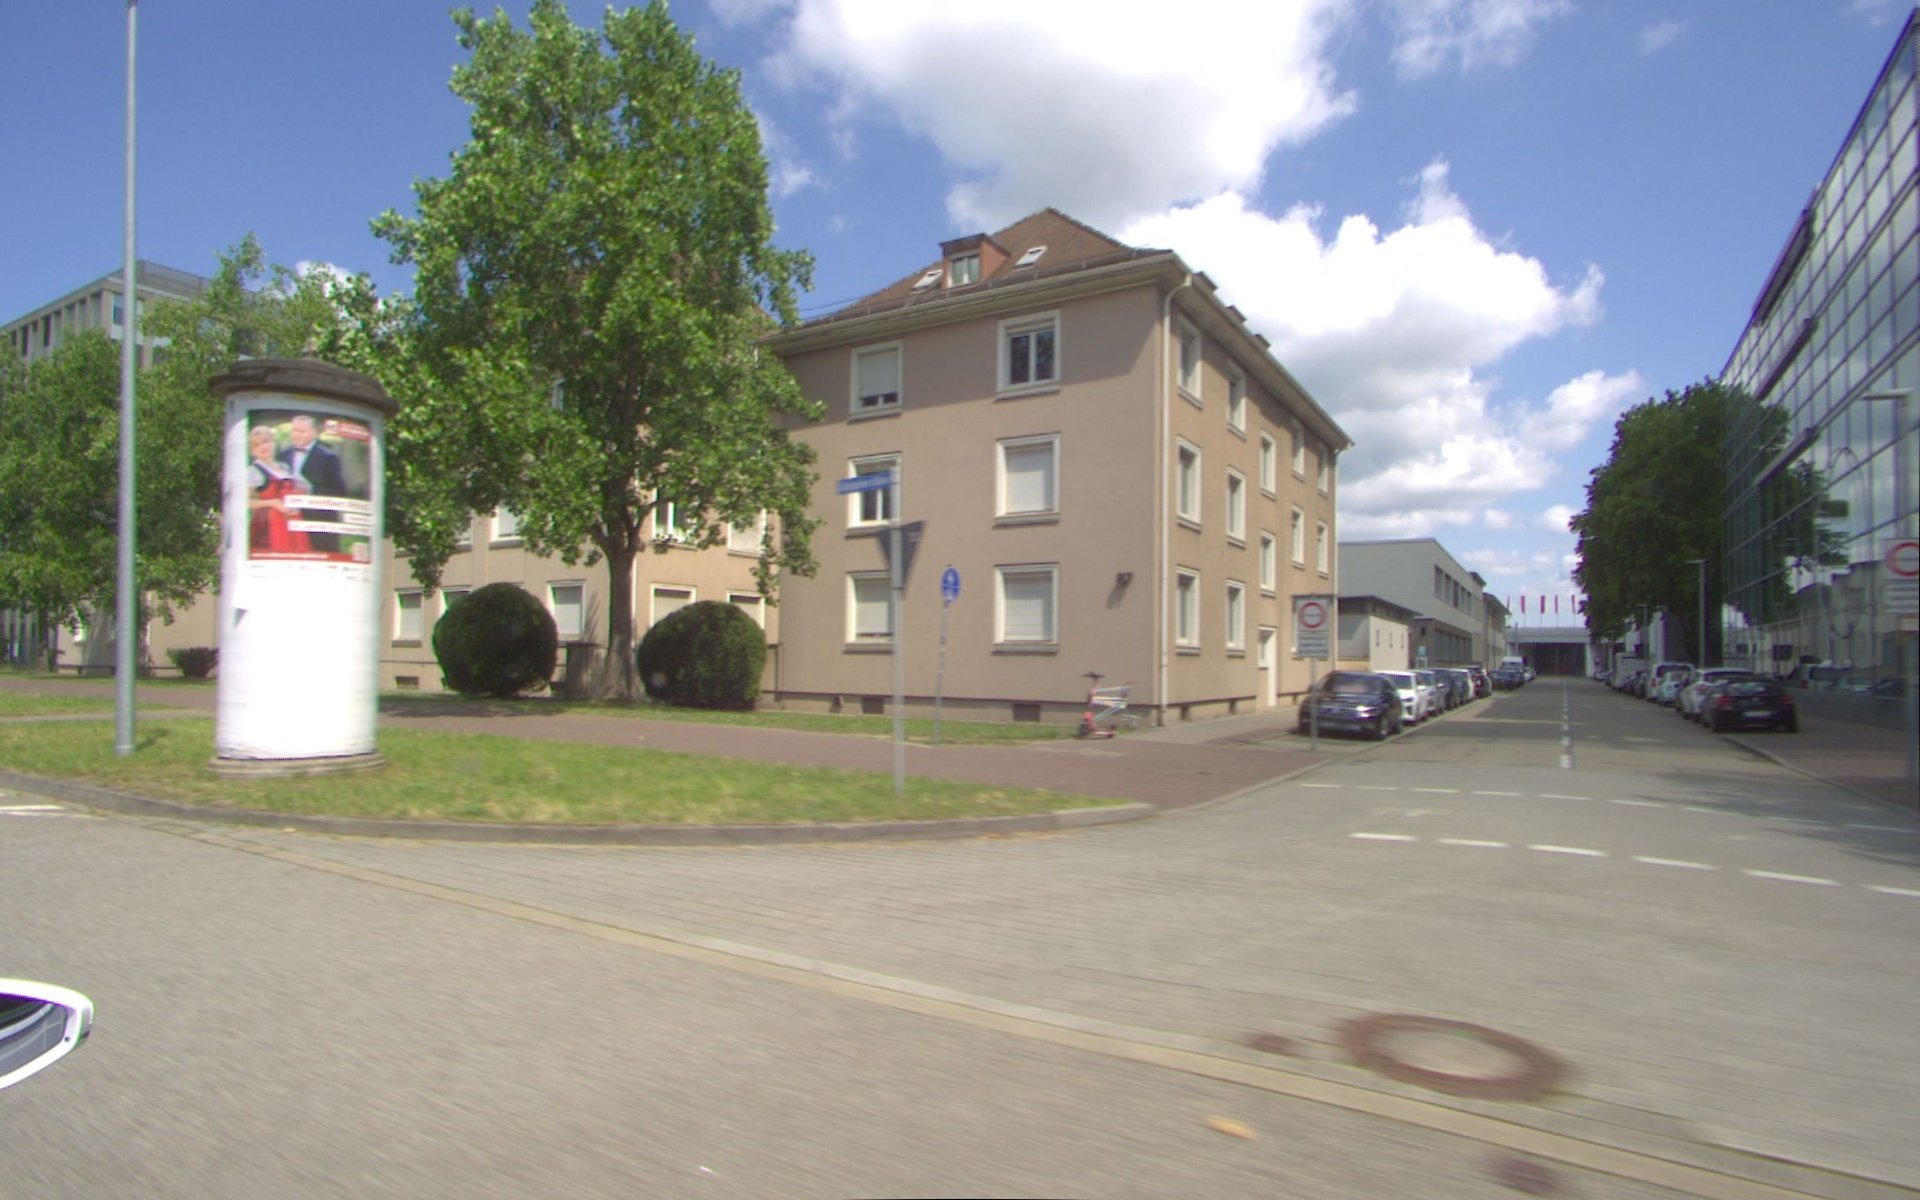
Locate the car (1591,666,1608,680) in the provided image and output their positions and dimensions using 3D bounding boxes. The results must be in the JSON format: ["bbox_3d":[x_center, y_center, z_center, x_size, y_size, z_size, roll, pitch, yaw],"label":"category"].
[{"bbox_3d":[83.306,9.487,130.434,1.794,1.793,3.981,-4,-5,33],"label":"car"}]

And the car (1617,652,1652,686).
[{"bbox_3d":[48.967,5.030,72.773,1.967,2.334,4.580,-3,-5,33],"label":"car"}]

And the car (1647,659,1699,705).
[{"bbox_3d":[34.155,3.896,48.033,1.793,2.107,3.981,-2,-4,33],"label":"car"}]

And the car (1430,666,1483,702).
[{"bbox_3d":[23.058,3.867,46.430,1.835,1.464,4.053,2,-2,31],"label":"car"}]

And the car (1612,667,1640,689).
[{"bbox_3d":[54.378,6.370,81.837,1.794,1.793,3.981,-4,-5,33],"label":"car"}]

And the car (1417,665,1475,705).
[{"bbox_3d":[20.668,3.576,42.505,1.835,1.464,4.053,2,-2,31],"label":"car"}]

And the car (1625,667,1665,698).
[{"bbox_3d":[40.873,4.923,59.838,1.794,1.793,3.981,-4,-5,33],"label":"car"}]

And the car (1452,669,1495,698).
[{"bbox_3d":[28.646,4.618,55.827,1.835,1.464,4.053,2,-2,31],"label":"car"}]

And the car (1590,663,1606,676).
[{"bbox_3d":[91.564,9.948,143.600,1.794,1.793,3.981,-4,-5,33],"label":"car"}]

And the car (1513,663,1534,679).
[{"bbox_3d":[64.812,8.141,115.203,1.794,1.793,3.981,-4,-5,33],"label":"car"}]

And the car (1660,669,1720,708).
[{"bbox_3d":[31.268,3.758,42.970,1.794,1.566,3.981,-3,-5,33],"label":"car"}]

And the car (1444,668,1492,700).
[{"bbox_3d":[26.041,4.271,51.250,1.835,1.464,4.053,2,-2,31],"label":"car"}]

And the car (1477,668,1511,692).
[{"bbox_3d":[37.467,5.582,70.226,1.835,1.464,4.053,2,-2,31],"label":"car"}]

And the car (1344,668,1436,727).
[{"bbox_3d":[12.500,2.755,28.943,1.835,1.464,4.296,2,-2,31],"label":"car"}]

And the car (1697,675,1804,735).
[{"bbox_3d":[21.115,2.782,26.893,1.794,1.434,3.981,-5,-6,33],"label":"car"}]

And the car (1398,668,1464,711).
[{"bbox_3d":[18.073,3.382,38.348,1.835,1.464,4.053,2,-2,31],"label":"car"}]

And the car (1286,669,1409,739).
[{"bbox_3d":[8.953,2.294,22.920,1.970,1.370,4.449,-1,-4,30],"label":"car"}]

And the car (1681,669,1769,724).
[{"bbox_3d":[23.729,2.968,31.193,1.794,1.566,3.981,-5,-6,33],"label":"car"}]

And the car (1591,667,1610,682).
[{"bbox_3d":[79.850,9.260,124.811,1.794,1.793,3.981,-4,-5,33],"label":"car"}]

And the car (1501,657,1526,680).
[{"bbox_3d":[52.146,6.434,94.298,1.793,2.059,3.981,-2,-4,33],"label":"car"}]

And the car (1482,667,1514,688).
[{"bbox_3d":[40.230,5.765,74.811,1.835,1.464,4.053,2,-2,31],"label":"car"}]

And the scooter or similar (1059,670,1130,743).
[{"bbox_3d":[2.543,1.984,18.847,1.430,1.319,0.542,3,-4,-43],"label":"scooter or similar"}]

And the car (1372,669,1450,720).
[{"bbox_3d":[15.005,3.068,33.217,1.835,1.464,4.053,2,-2,31],"label":"car"}]
